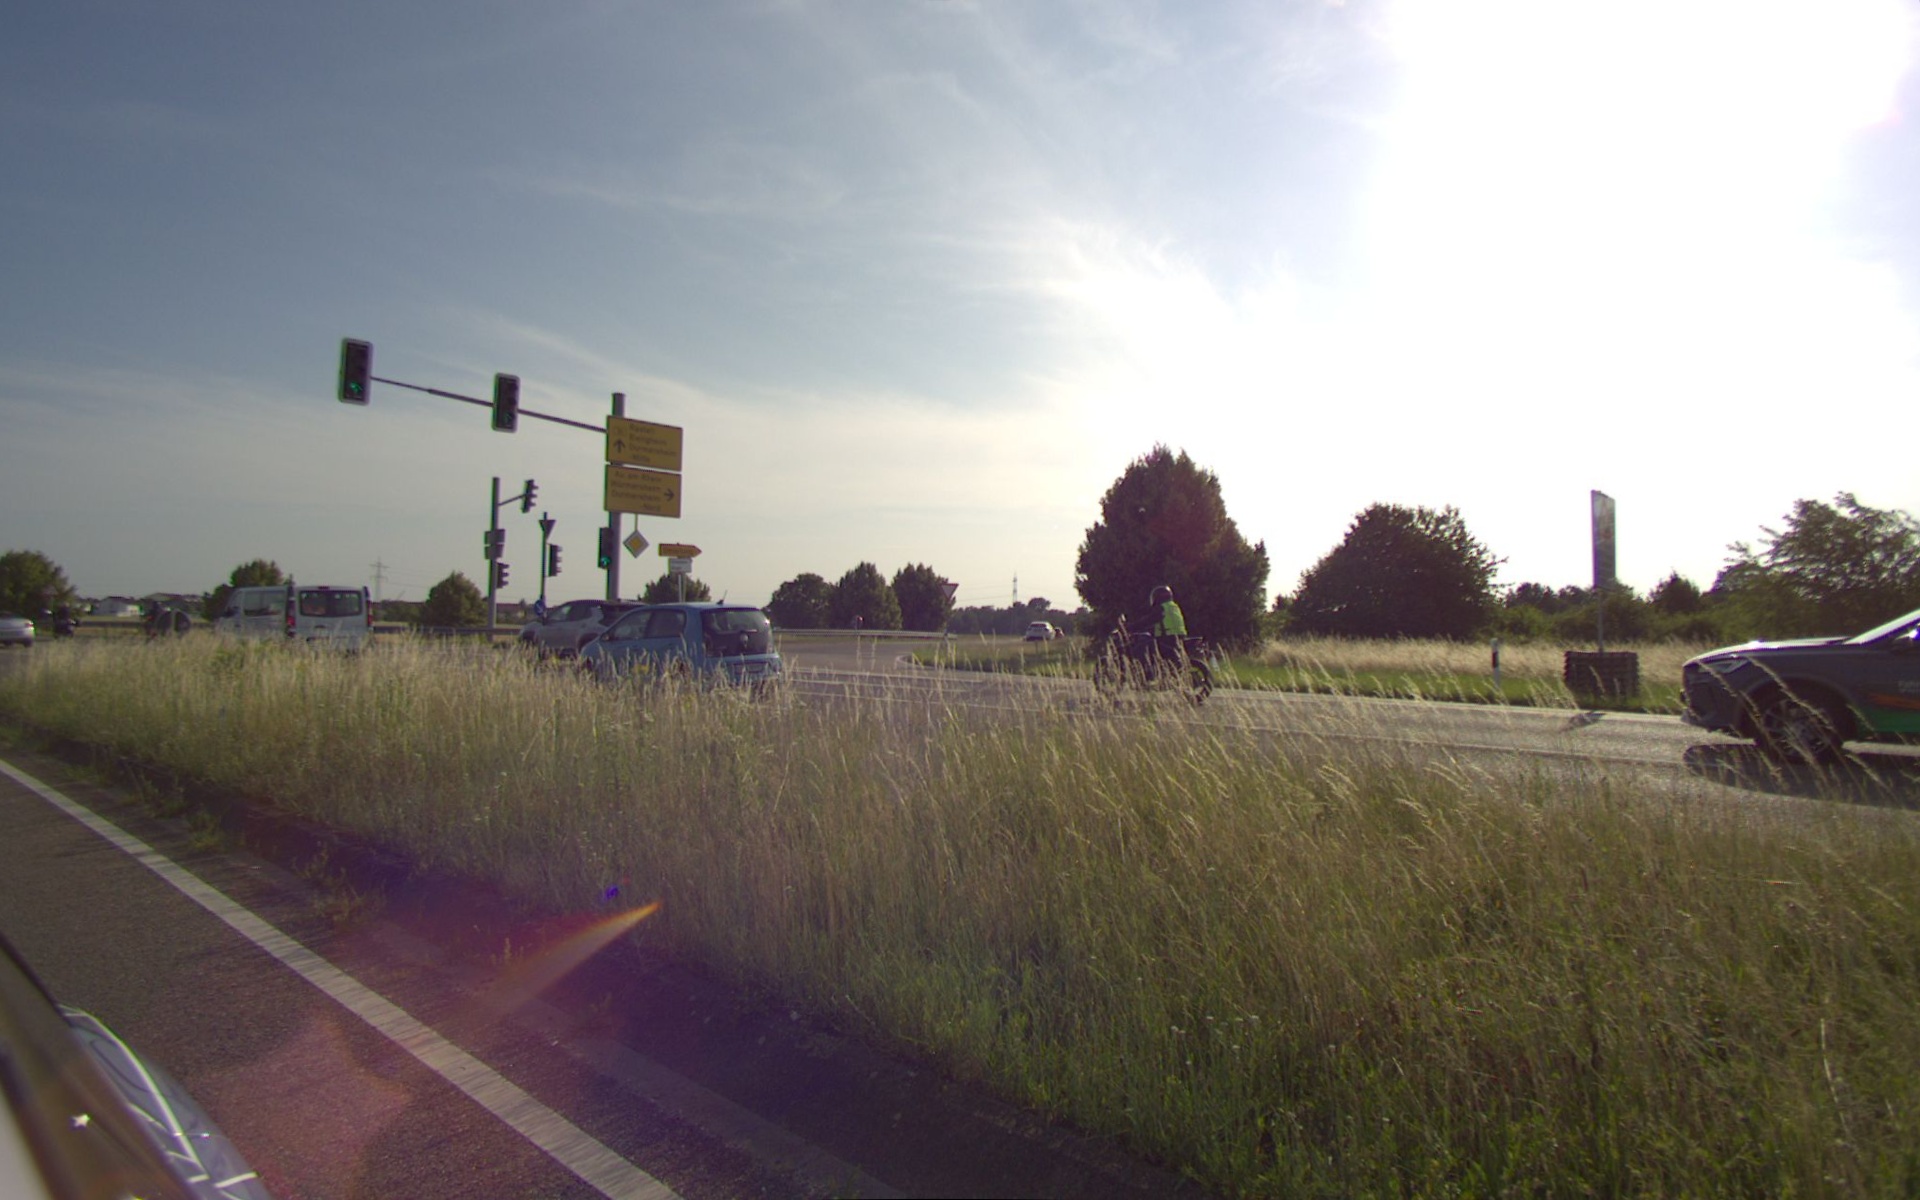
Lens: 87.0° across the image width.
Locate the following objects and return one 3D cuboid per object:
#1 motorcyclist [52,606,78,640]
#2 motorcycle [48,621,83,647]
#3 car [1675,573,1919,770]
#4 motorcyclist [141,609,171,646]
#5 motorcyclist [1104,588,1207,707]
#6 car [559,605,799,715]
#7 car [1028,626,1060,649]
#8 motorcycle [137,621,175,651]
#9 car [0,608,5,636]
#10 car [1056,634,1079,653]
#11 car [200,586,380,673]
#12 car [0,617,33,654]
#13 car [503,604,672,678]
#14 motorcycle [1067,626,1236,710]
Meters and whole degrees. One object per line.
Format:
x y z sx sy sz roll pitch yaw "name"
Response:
-40.285 1.040 45.571 0.894 1.514 0.691 -1 -2 36 "motorcyclist"
-40.289 1.528 45.568 2.273 1.147 0.694 -1 -1 36 "motorcycle"
8.828 0.567 8.346 4.609 1.577 1.892 -1 -1 42 "car"
-32.523 1.107 40.931 1.018 1.476 0.698 -1 -1 36 "motorcyclist"
2.794 0.653 14.477 1.248 1.616 0.745 -1 -1 39 "motorcyclist"
-4.309 0.819 15.294 3.748 1.454 1.662 -1 -1 39 "car"
6.234 2.742 74.806 1.932 1.546 4.432 0 -1 10 "car"
-32.521 1.439 40.931 2.019 1.167 0.701 -1 -1 36 "motorcycle"
-51.368 1.150 52.713 3.513 1.423 1.671 -1 -1 35 "car"
9.968 4.026 93.479 1.905 1.599 4.117 0 -1 10 "car"
-16.544 0.689 24.859 5.781 1.918 1.974 -1 -1 38 "car"
-36.829 1.325 38.201 4.440 1.363 1.681 -1 -1 33 "car"
-8.475 0.873 22.876 4.129 1.536 1.689 -1 -1 38 "car"
2.716 0.929 14.563 2.305 1.101 0.745 -1 -1 39 "motorcycle"
